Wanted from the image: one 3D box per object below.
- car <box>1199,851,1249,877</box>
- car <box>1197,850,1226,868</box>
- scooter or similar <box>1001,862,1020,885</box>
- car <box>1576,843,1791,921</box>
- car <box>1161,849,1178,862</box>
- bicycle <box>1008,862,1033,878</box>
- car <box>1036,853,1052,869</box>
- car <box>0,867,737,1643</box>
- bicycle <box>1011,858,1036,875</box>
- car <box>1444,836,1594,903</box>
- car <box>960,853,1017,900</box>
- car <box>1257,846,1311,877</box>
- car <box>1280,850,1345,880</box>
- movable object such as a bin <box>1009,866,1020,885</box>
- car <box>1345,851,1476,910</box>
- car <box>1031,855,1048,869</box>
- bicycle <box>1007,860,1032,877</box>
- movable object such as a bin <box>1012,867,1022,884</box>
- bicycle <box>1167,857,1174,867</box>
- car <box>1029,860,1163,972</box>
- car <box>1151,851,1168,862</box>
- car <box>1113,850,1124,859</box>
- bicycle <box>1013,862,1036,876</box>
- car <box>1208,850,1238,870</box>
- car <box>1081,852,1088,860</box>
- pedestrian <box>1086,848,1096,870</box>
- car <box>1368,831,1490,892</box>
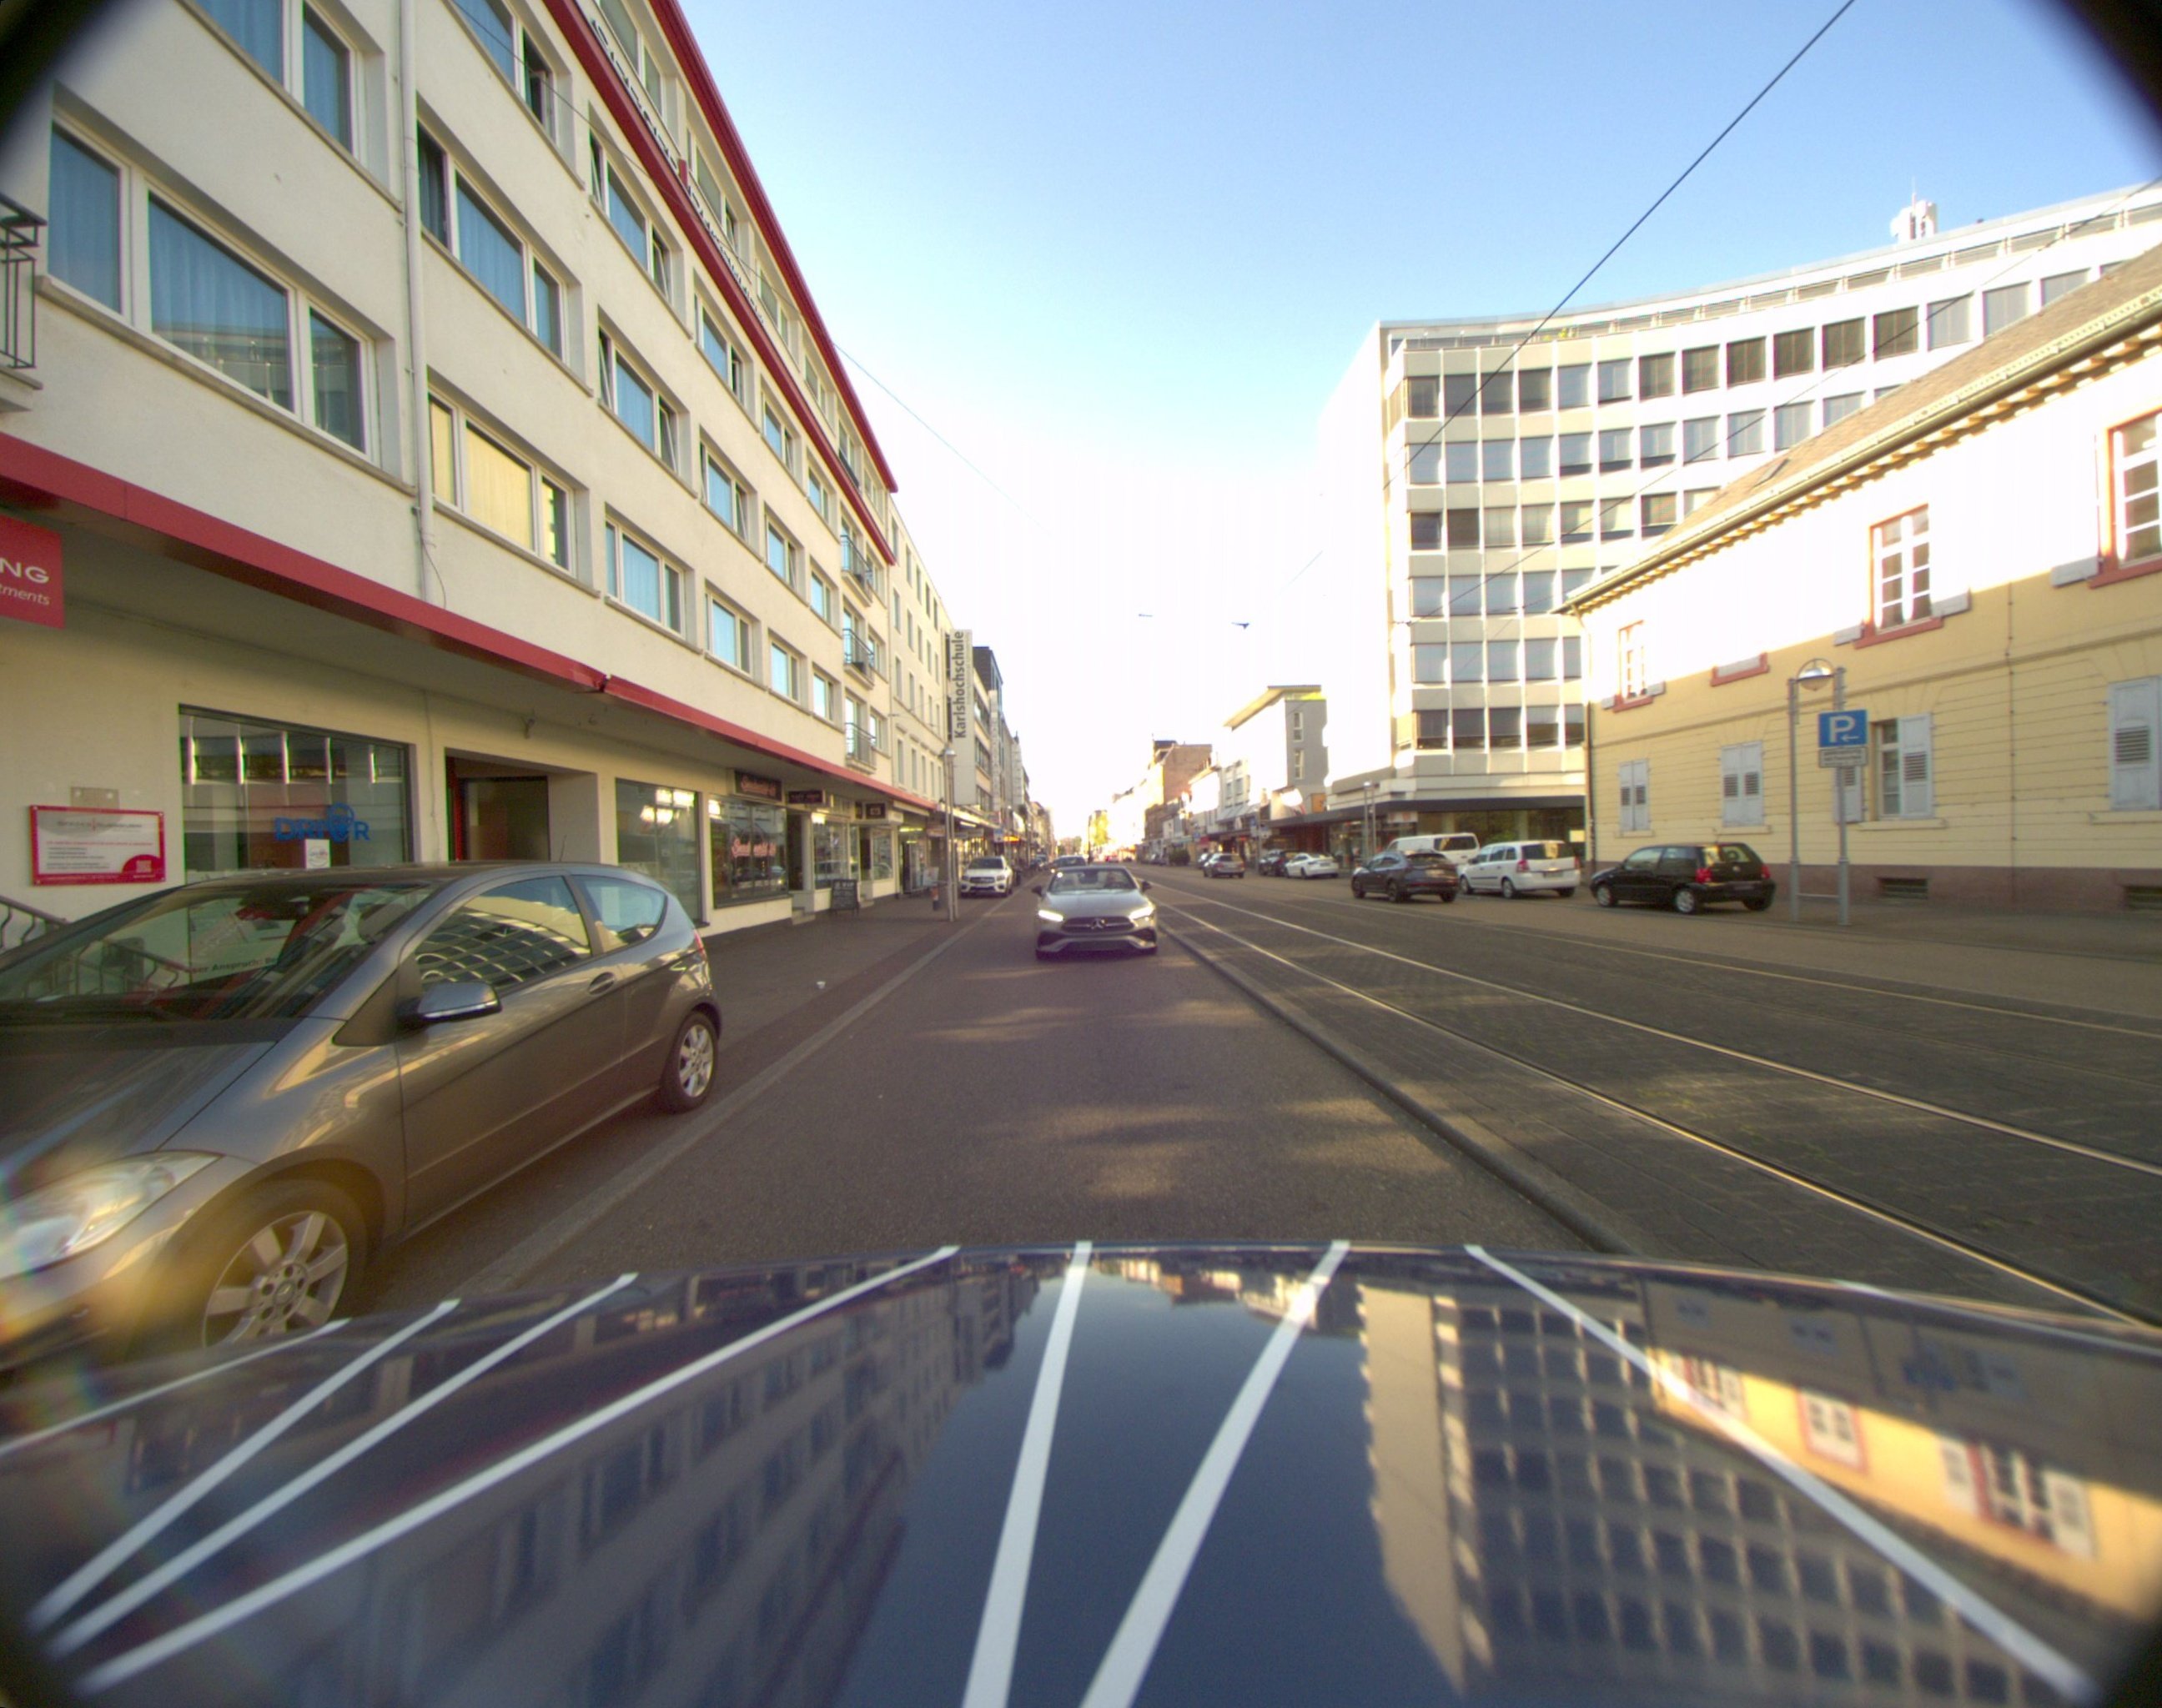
[{"bbox_3d":[8.668,0.594,46.537,1.885,1.487,4.928,0,0,-3],"label":"car"},{"bbox_3d":[12.133,0.429,70.874,1.741,1.514,4.851,-4,1,0],"label":"car"},{"bbox_3d":[-3.842,1.079,41.524,0.995,1.224,0.319,0,1,-2],"label":"scooter or similar"},{"bbox_3d":[12.872,0.528,16.570,1.618,1.392,3.719,-4,1,-2],"label":"car"},{"bbox_3d":[11.605,0.220,99.602,1.701,1.594,2.890,-3,1,-1],"label":"car"},{"bbox_3d":[-4.376,1.163,55.226,1.792,1.153,0.669,-1,1,-2],"label":"bicycle"},{"bbox_3d":[-4.534,0.814,92.659,1.821,1.849,4.548,-1,1,-5],"label":"car"},{"bbox_3d":[-3.236,0.907,3.389,1.750,1.622,3.648,-1,0,-1],"label":"car"},{"bbox_3d":[-4.289,0.932,56.601,1.792,1.210,0.669,-1,1,-2],"label":"bicycle"},{"bbox_3d":[12.845,0.399,22.677,1.812,1.676,4.648,-4,1,1],"label":"car"},{"bbox_3d":[-3.719,0.845,31.386,1.854,1.714,5.191,0,1,-2],"label":"car"},{"bbox_3d":[12.473,0.427,46.999,1.983,1.669,4.654,-4,1,-1],"label":"car"},{"bbox_3d":[12.607,0.538,41.635,1.893,1.413,4.655,-4,1,-2],"label":"car"},{"bbox_3d":[-3.680,1.188,42.003,0.523,1.008,0.671,-1,1,1],"label":"movable object such as a bin"},{"bbox_3d":[9.473,0.686,22.260,1.769,1.503,4.278,-2,0,-3],"label":"car"},{"bbox_3d":[-4.707,0.855,86.031,1.726,1.476,4.415,0,1,-1],"label":"car"},{"bbox_3d":[-4.646,1.077,57.444,1.792,1.210,0.587,-1,1,-2],"label":"bicycle"},{"bbox_3d":[-3.627,1.200,43.304,0.489,0.952,0.457,-1,1,2],"label":"movable object such as a bin"},{"bbox_3d":[10.842,0.982,92.287,0.520,1.084,1.715,-4,1,-1],"label":"bicycle"},{"bbox_3d":[0.152,0.901,13.169,1.858,1.463,4.785,-1,1,-2],"label":"car"},{"bbox_3d":[11.289,0.380,109.117,1.822,1.505,4.761,-2,1,-1],"label":"car"},{"bbox_3d":[7.406,0.149,149.897,1.802,1.625,3.675,-1,1,-1],"label":"car"},{"bbox_3d":[-4.360,1.154,58.838,1.778,1.026,0.596,-1,1,-2],"label":"bicycle"},{"bbox_3d":[12.062,0.483,64.776,1.605,1.514,3.588,-4,1,-4],"label":"car"},{"bbox_3d":[0.971,0.518,215.468,1.999,2.002,3.999,-4,1,0],"label":"car"},{"bbox_3d":[0.834,0.438,64.941,0.806,1.827,0.746,0,1,-3],"label":"pedestrian"},{"bbox_3d":[12.793,0.239,28.355,1.999,1.964,5.095,-4,1,-2],"label":"car"}]
